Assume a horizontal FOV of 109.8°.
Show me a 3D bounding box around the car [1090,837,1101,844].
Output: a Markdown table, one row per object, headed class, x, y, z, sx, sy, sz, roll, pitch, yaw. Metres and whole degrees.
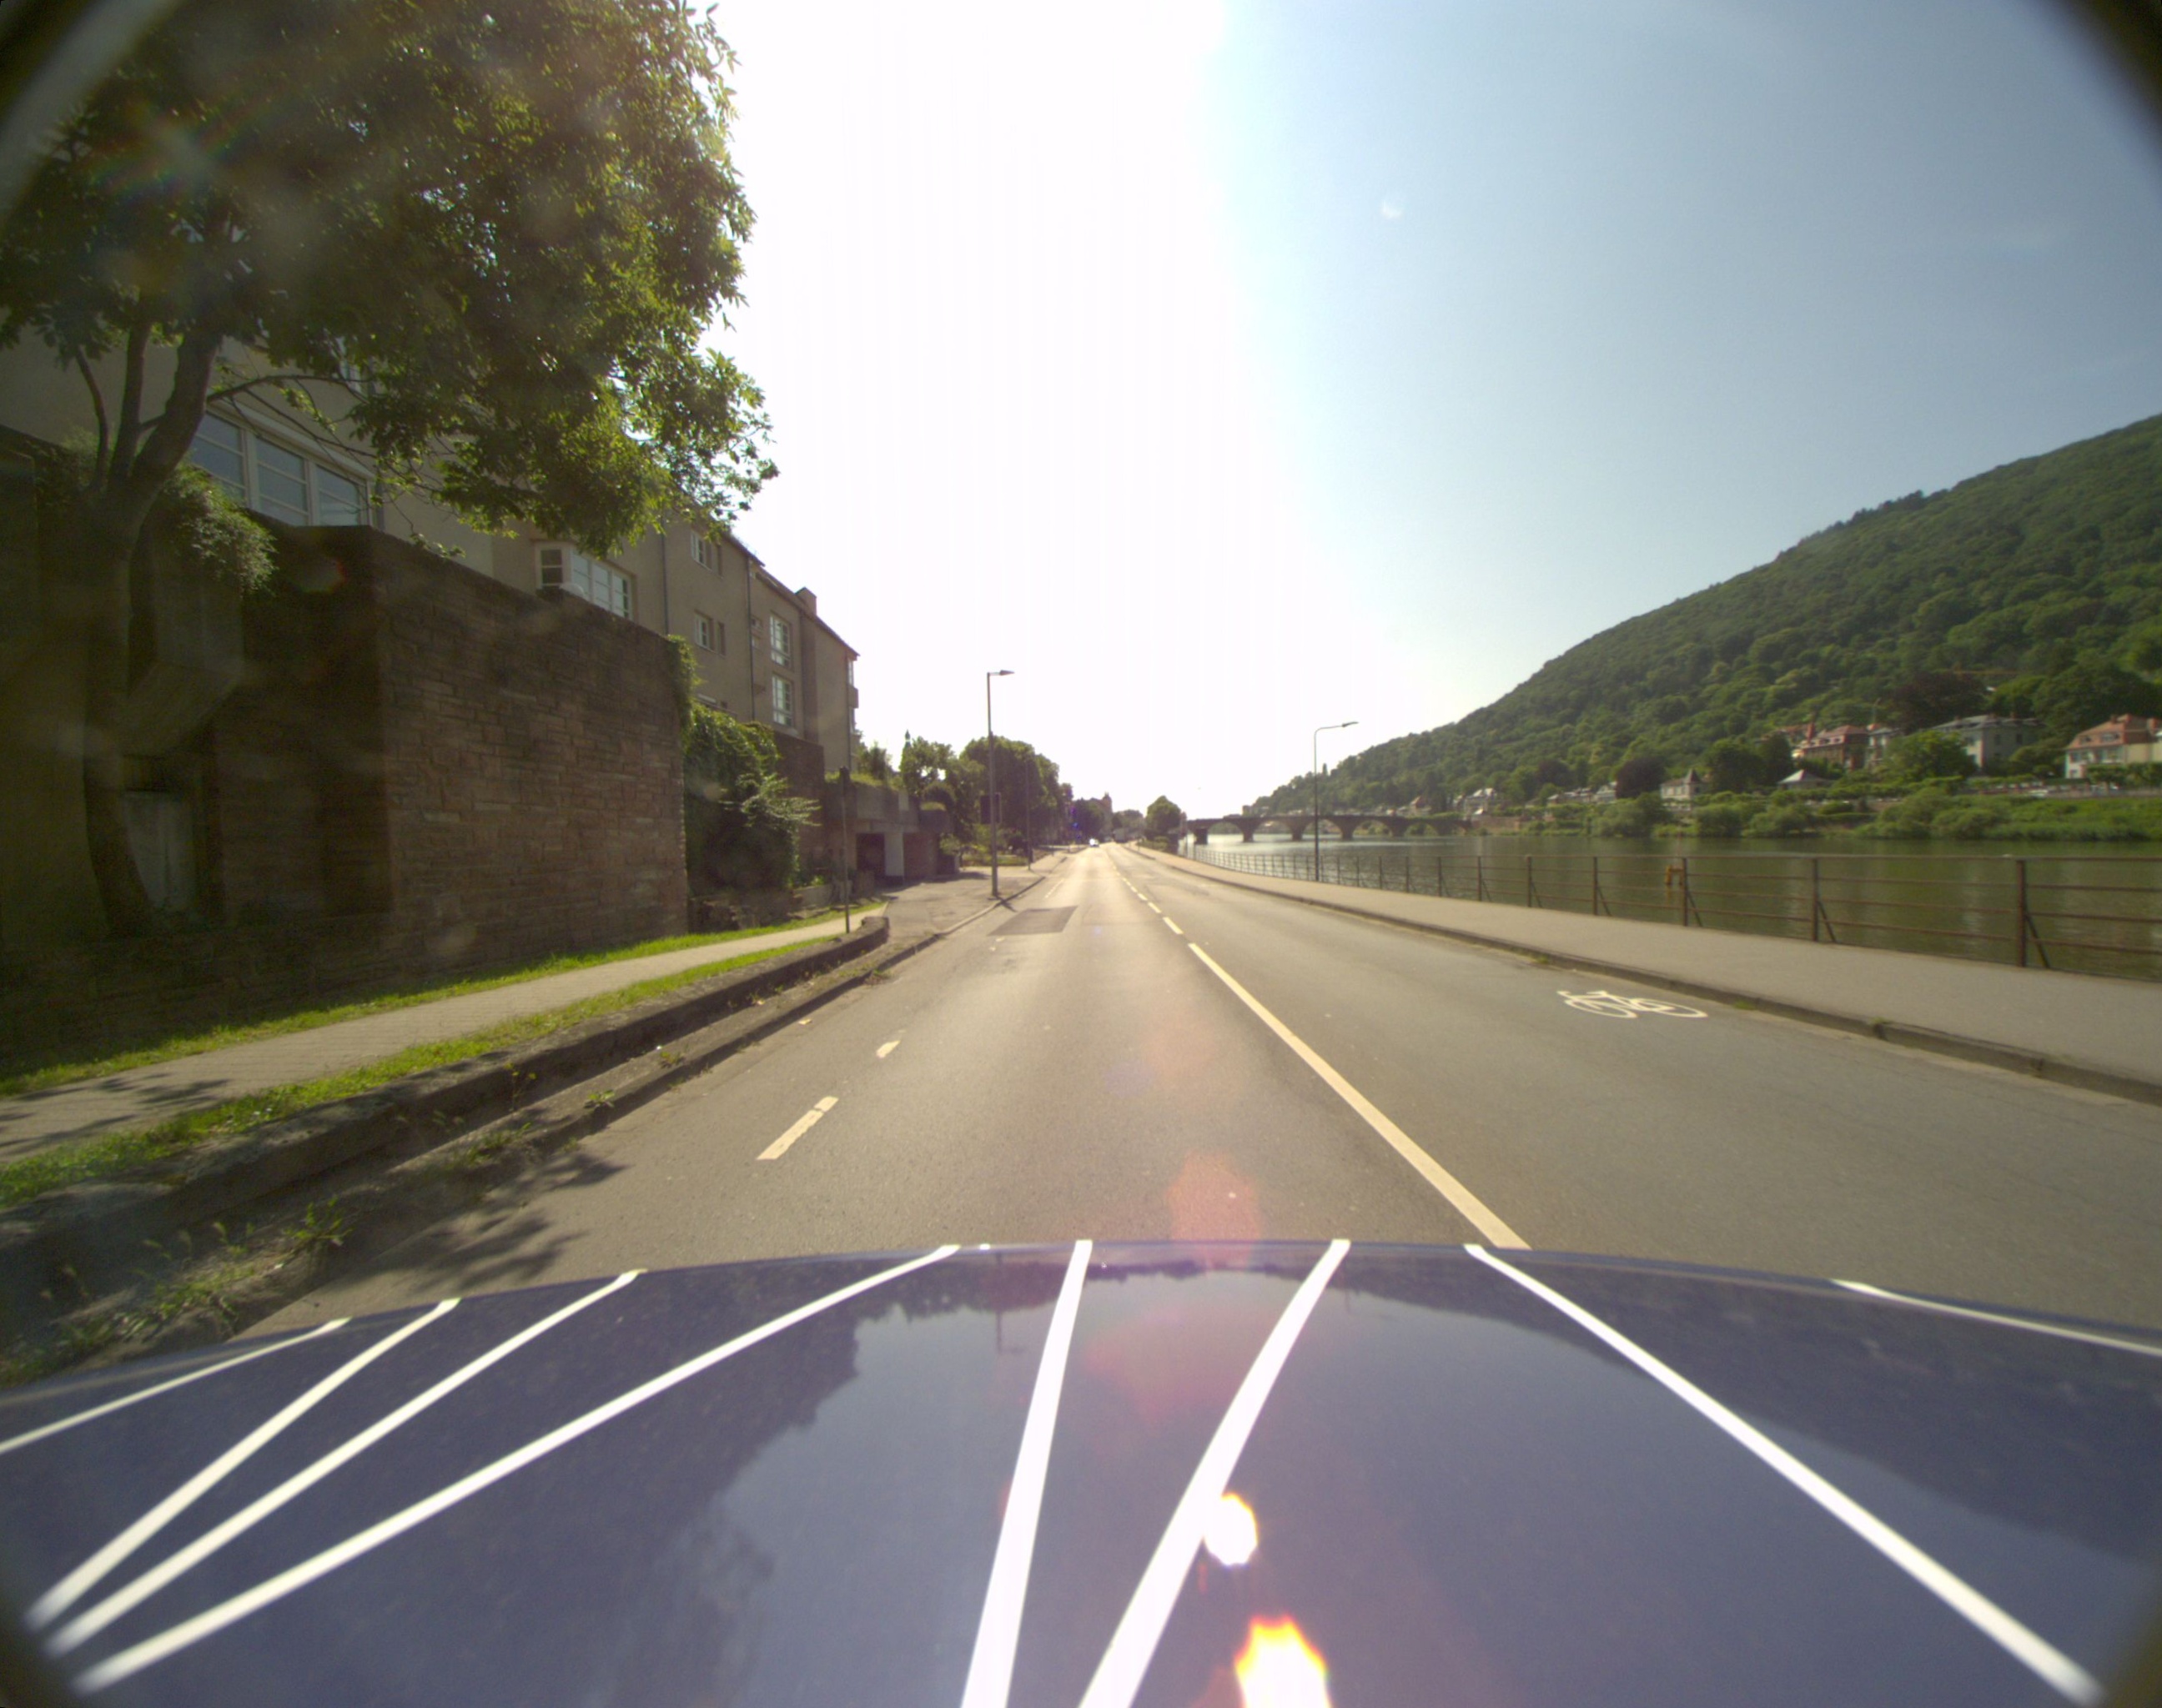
| class | x | y | z | sx | sy | sz | roll | pitch | yaw |
| --- | --- | --- | --- | --- | --- | --- | --- | --- | --- |
| car | 2.867 | -2.648 | 148.606 | 1.998 | 1.433 | 4.001 | 0 | 0 | 3 |
